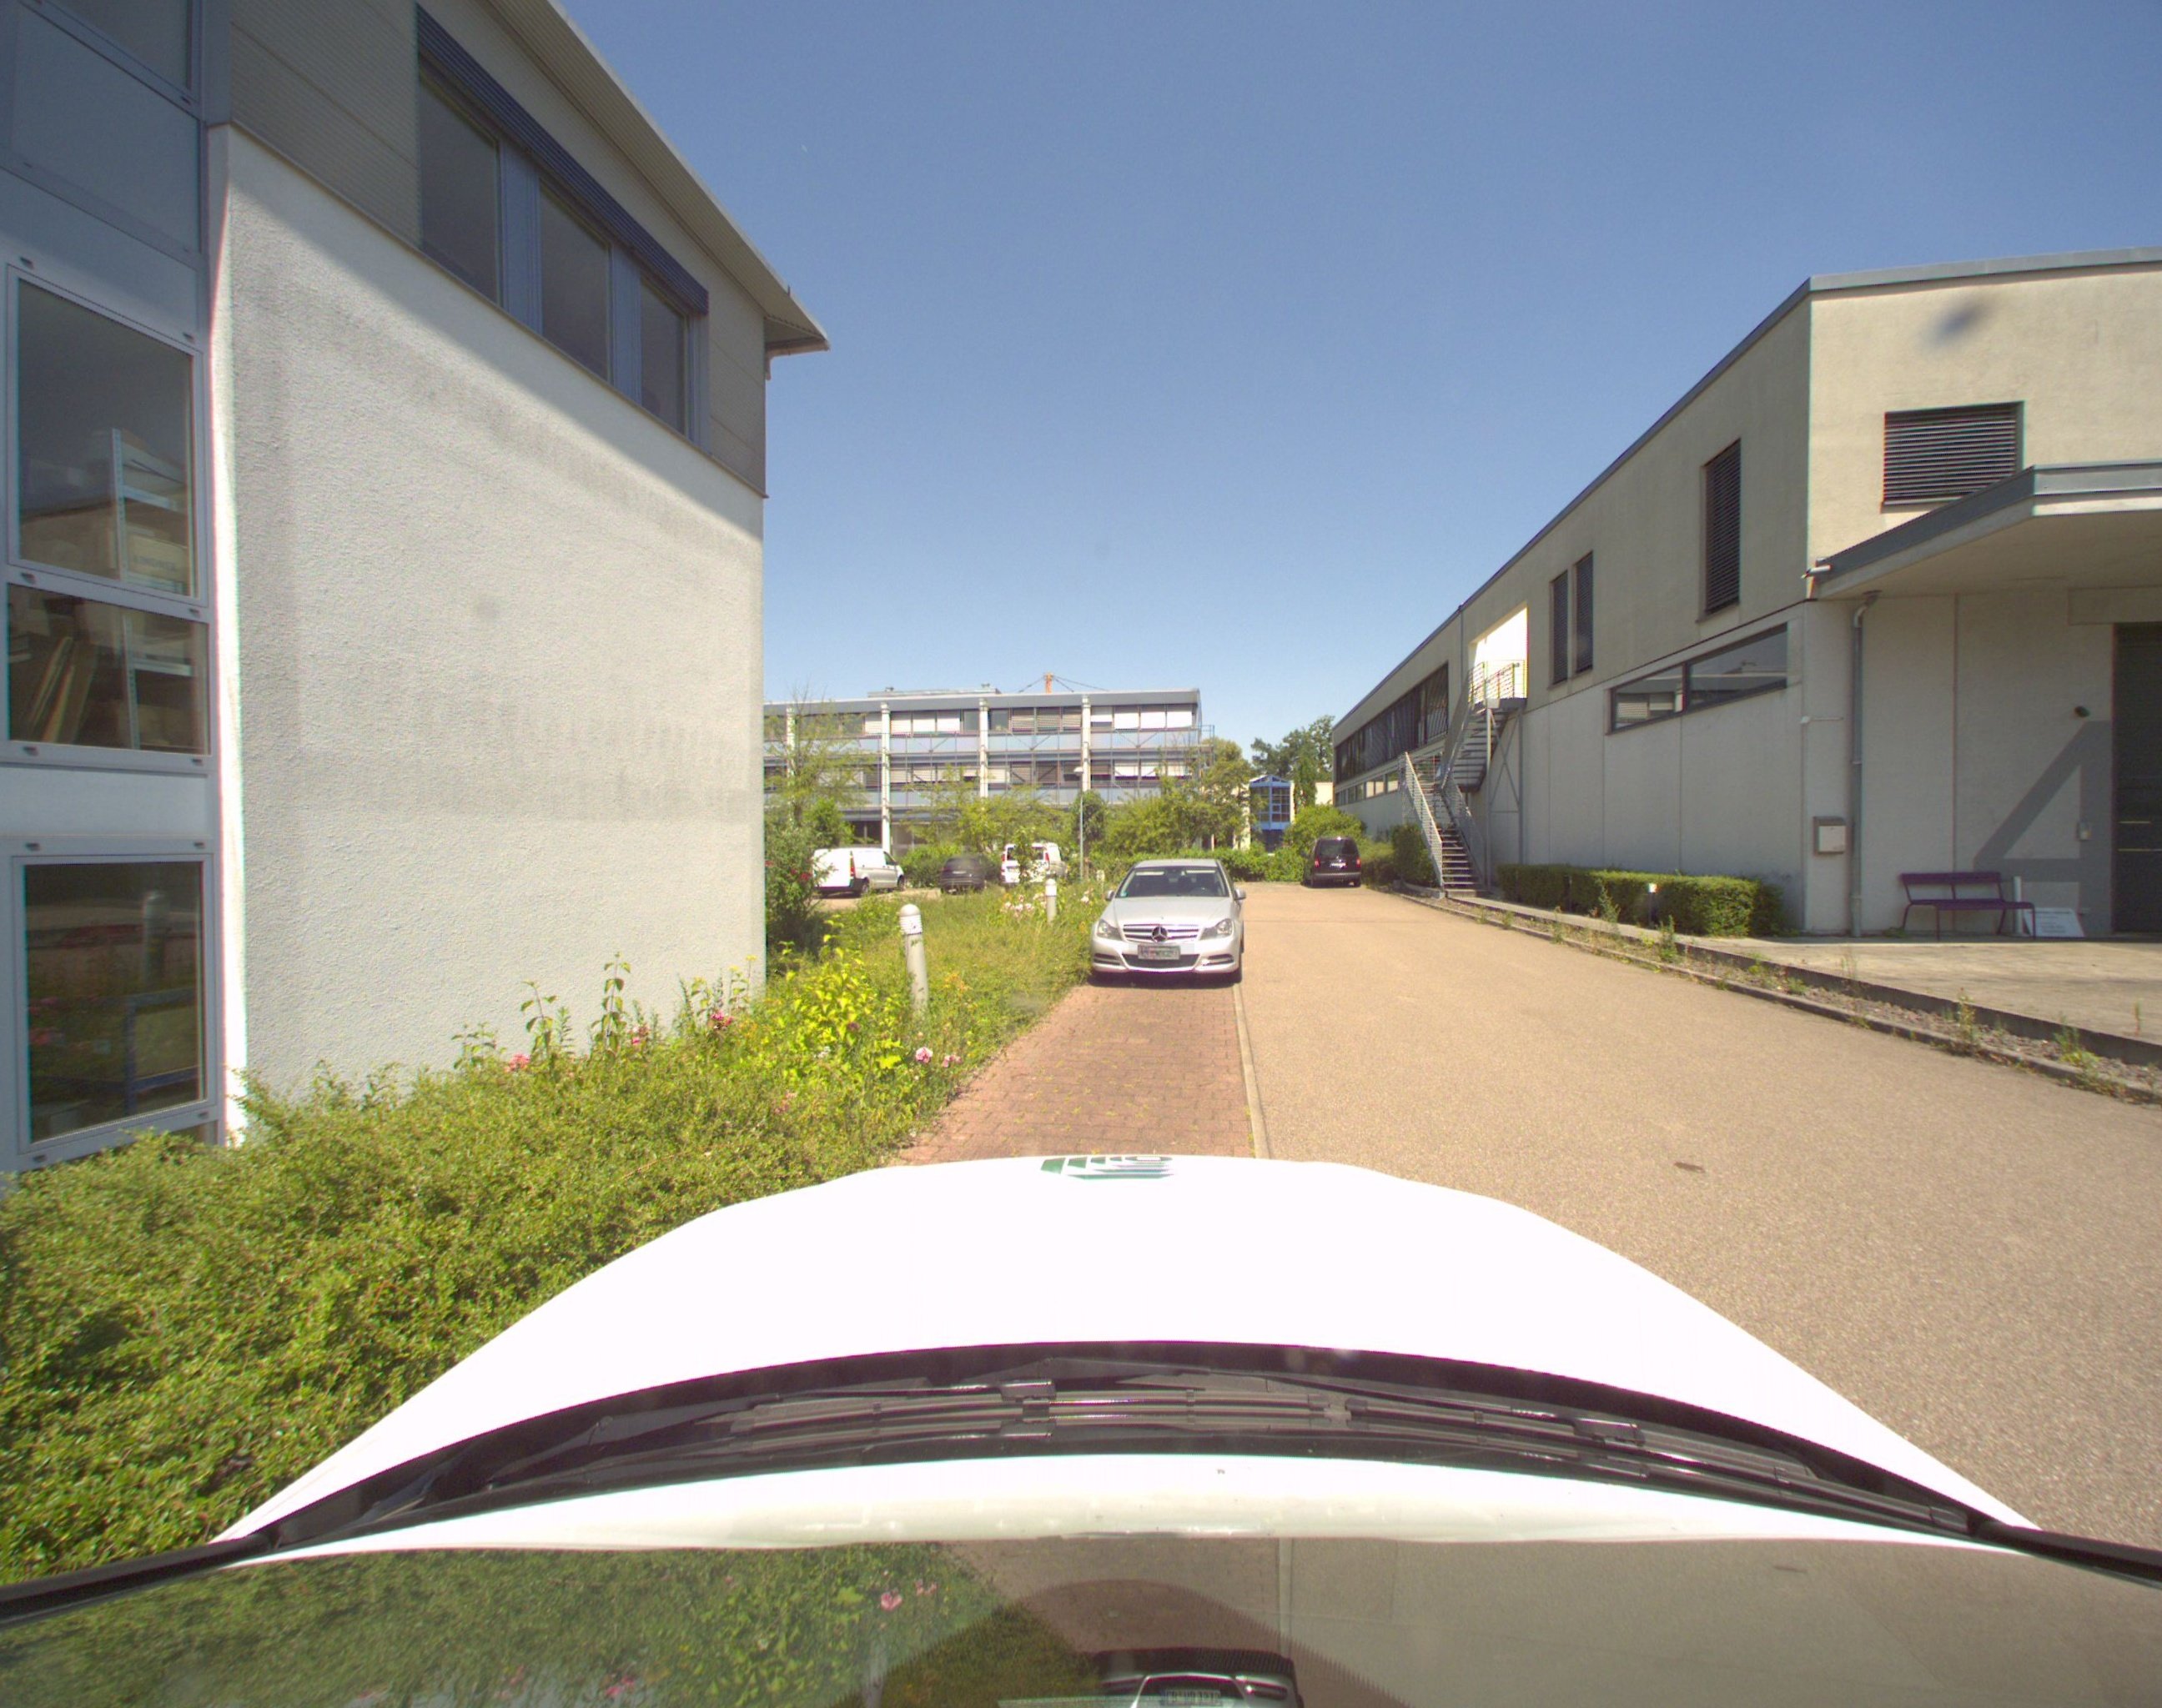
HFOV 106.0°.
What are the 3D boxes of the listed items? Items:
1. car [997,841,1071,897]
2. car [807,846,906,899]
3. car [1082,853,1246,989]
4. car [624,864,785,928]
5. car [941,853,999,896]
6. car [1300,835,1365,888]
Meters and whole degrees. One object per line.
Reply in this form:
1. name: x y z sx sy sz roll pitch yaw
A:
1. car: -1.706 0.503 31.464 1.902 1.905 4.819 -2 1 8
2. car: -8.864 0.672 32.652 1.870 1.891 4.818 -1 1 10
3. car: 1.298 0.744 10.920 1.717 1.457 4.161 -2 0 12
4. car: -10.274 1.093 22.671 1.846 1.472 4.495 -1 1 8
5. car: -4.336 0.754 32.402 1.749 1.476 3.999 -2 1 0
6. car: 9.406 0.240 30.748 1.733 1.837 4.010 -2 0 9
